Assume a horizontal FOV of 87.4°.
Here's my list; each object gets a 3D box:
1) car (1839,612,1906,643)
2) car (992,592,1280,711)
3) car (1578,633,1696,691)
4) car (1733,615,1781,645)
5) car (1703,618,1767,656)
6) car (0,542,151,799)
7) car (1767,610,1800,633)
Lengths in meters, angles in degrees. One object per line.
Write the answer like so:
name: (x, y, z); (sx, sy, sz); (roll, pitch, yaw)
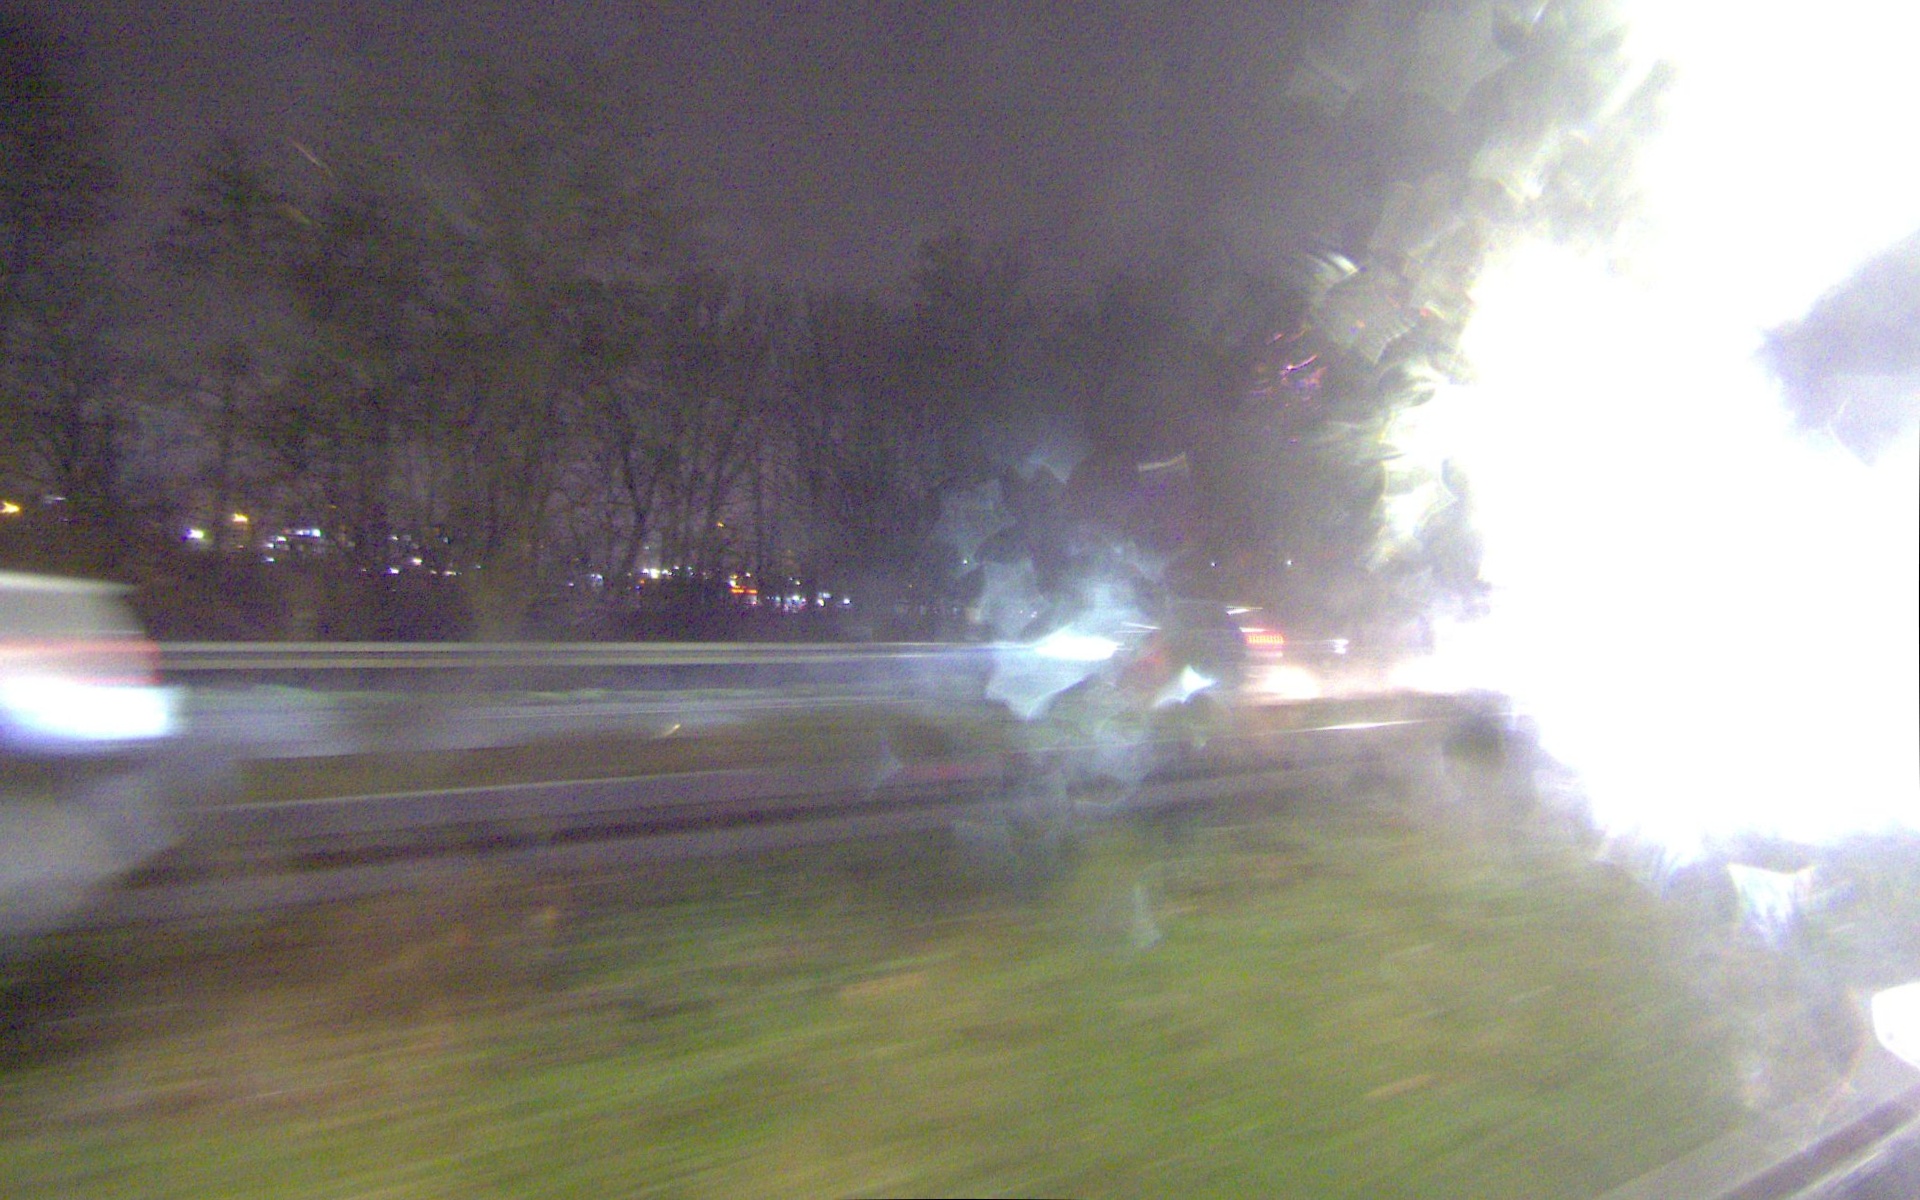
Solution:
car: (59.267, 1.751, 65.311); (2.057, 1.665, 3.726); (6, 3, 26)
car: (2.833, 0.763, 15.660); (4.515, 1.614, 1.763); (2, -1, -35)
car: (19.187, 1.711, 28.419); (3.907, 1.515, 1.720); (2, -2, -39)
car: (41.758, 1.601, 52.677); (1.766, 1.476, 4.561); (-1, -2, 36)
car: (31.774, 1.485, 41.158); (1.769, 1.476, 4.553); (-1, -1, 41)
car: (-7.334, 0.413, 6.279); (3.476, 1.592, 1.834); (1, 0, -38)
car: (67.444, 1.785, 82.261); (1.969, 1.744, 3.982); (3, 1, 39)
